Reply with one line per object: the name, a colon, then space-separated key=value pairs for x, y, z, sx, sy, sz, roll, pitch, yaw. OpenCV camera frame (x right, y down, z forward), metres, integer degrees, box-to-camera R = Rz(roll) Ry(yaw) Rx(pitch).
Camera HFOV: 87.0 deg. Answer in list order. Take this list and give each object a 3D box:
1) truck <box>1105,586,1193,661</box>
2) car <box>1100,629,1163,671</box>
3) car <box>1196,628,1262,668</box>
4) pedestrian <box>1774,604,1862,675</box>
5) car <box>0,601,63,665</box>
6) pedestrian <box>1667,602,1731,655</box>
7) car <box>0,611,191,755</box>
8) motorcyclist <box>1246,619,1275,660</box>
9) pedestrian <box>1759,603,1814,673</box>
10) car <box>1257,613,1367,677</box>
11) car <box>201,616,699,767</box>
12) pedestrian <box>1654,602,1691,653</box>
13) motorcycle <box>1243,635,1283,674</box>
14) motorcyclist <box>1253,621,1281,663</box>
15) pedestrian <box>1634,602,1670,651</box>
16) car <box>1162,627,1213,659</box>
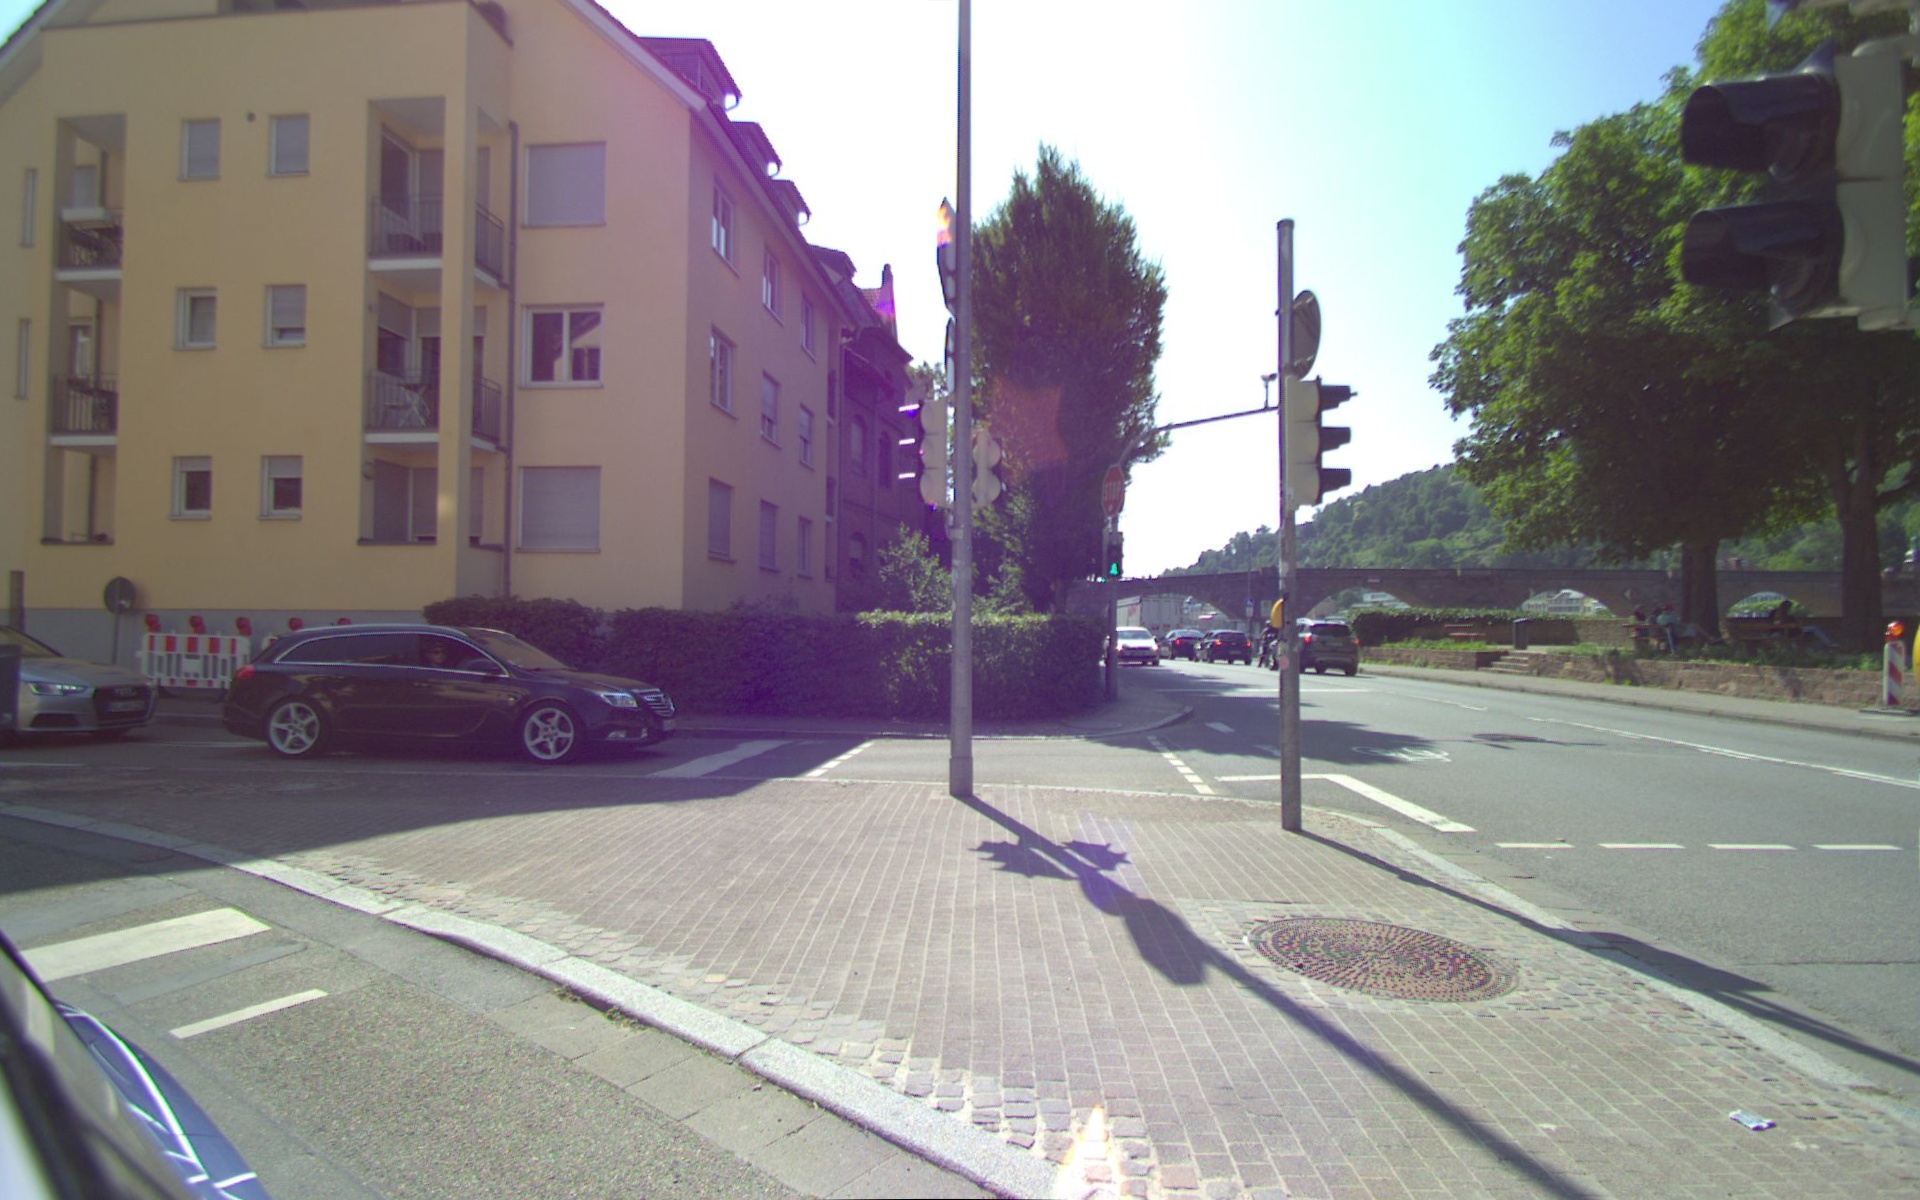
truck: x=11.719 y=1.529 z=64.142 sx=3.169 sy=4.246 sz=12.763 roll=1 pitch=-2 yaw=0
car: x=6.372 y=1.826 z=37.938 sx=1.669 sy=1.466 sz=3.739 roll=-1 pitch=-1 yaw=-1
car: x=11.333 y=1.999 z=42.836 sx=1.974 sy=1.608 sz=3.994 roll=0 pitch=-2 yaw=4
pedestrian: x=18.301 y=0.840 z=21.600 sx=1.368 sy=1.490 sz=0.467 roll=1 pitch=-2 yaw=7
car: x=-24.295 y=0.806 z=24.300 sx=1.829 sy=1.556 sz=3.994 roll=0 pitch=-1 yaw=5
pedestrian: x=18.540 y=0.715 z=25.399 sx=1.209 sy=1.280 sz=0.467 roll=1 pitch=-2 yaw=7
car: x=-11.704 y=0.871 z=11.638 sx=4.324 sy=1.504 sz=1.876 roll=1 pitch=-2 yaw=2
motorcyclist: x=11.272 y=1.475 z=37.942 sx=0.807 sy=1.506 sz=0.874 roll=0 pitch=0 yaw=0
pedestrian: x=18.101 y=0.831 z=22.171 sx=0.795 sy=1.504 sz=0.467 roll=1 pitch=-2 yaw=7
car: x=11.019 y=1.345 z=32.024 sx=1.818 sy=1.766 sz=4.409 roll=3 pitch=-1 yaw=0
car: x=-5.468 y=0.980 z=11.243 sx=4.660 sy=1.473 sz=1.718 roll=1 pitch=-4 yaw=2
pedestrian: x=18.280 y=0.713 z=25.978 sx=0.624 sy=1.280 sz=0.467 roll=1 pitch=-2 yaw=7
motorcycle: x=11.255 y=2.013 z=37.668 sx=0.753 sy=1.387 sz=2.471 roll=1 pitch=-2 yaw=0
motorcyclist: x=11.264 y=1.548 z=37.151 sx=0.807 sy=1.504 sz=0.773 roll=1 pitch=-2 yaw=0
pedestrian: x=18.363 y=0.713 z=26.860 sx=0.624 sy=1.280 sz=0.467 roll=1 pitch=-2 yaw=7
car: x=11.355 y=2.137 z=50.653 sx=1.899 sy=1.519 sz=3.994 roll=0 pitch=-2 yaw=4
